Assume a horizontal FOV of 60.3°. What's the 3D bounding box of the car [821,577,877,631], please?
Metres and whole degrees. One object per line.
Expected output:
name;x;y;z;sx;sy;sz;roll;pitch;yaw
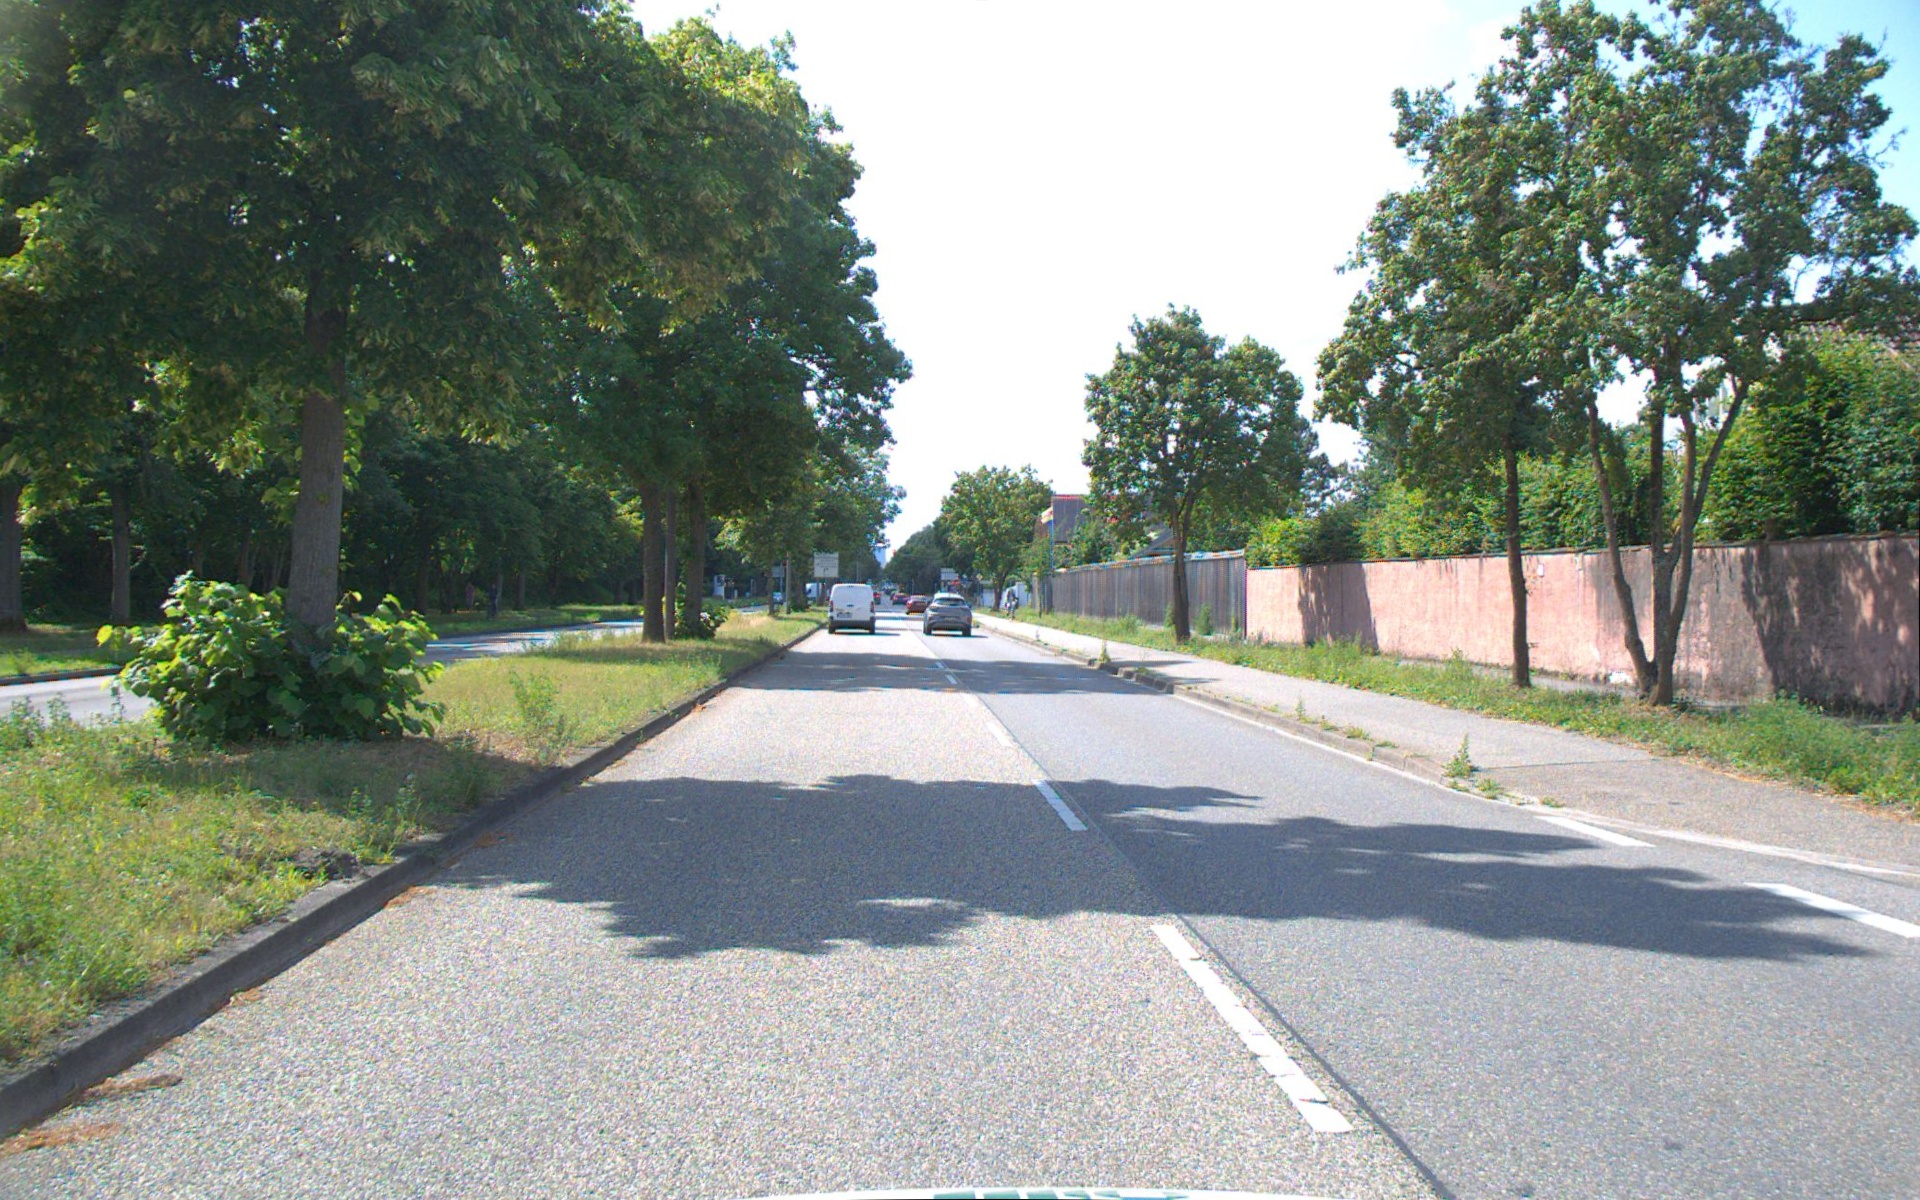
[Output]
car;-4.165;0.141;62.751;2.024;1.945;4.644;1;0;-3

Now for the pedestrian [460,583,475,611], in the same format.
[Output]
pedestrian;-29.240;-0.172;98.221;0.631;1.658;0.656;2;0;-2

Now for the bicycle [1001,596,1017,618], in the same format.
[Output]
bicycle;2.510;0.376;84.978;0.633;1.086;2.277;-2;0;-2

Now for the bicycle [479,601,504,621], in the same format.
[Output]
bicycle;-22.128;0.516;78.109;0.605;0.894;1.915;1;0;0

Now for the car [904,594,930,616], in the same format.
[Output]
car;-3.214;0.370;123.420;1.842;1.615;3.998;1;0;-3

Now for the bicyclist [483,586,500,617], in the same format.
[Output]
bicyclist;-22.125;0.065;78.129;0.605;1.473;0.729;1;0;0

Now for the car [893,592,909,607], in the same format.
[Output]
car;-7.462;-0.060;209.613;1.954;1.803;4.145;2;0;-3

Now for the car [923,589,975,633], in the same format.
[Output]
car;-0.451;0.387;63.660;1.837;1.617;4.182;1;0;-3

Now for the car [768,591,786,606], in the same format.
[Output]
car;-22.632;-0.191;204.422;1.953;1.735;4.191;1;0;-3

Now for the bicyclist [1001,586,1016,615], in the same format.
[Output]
bicyclist;2.501;0.032;84.908;0.641;1.436;0.986;-2;0;-2

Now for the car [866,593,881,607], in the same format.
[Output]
car;-10.985;0.009;210.668;1.902;1.798;4.144;1;0;-3
